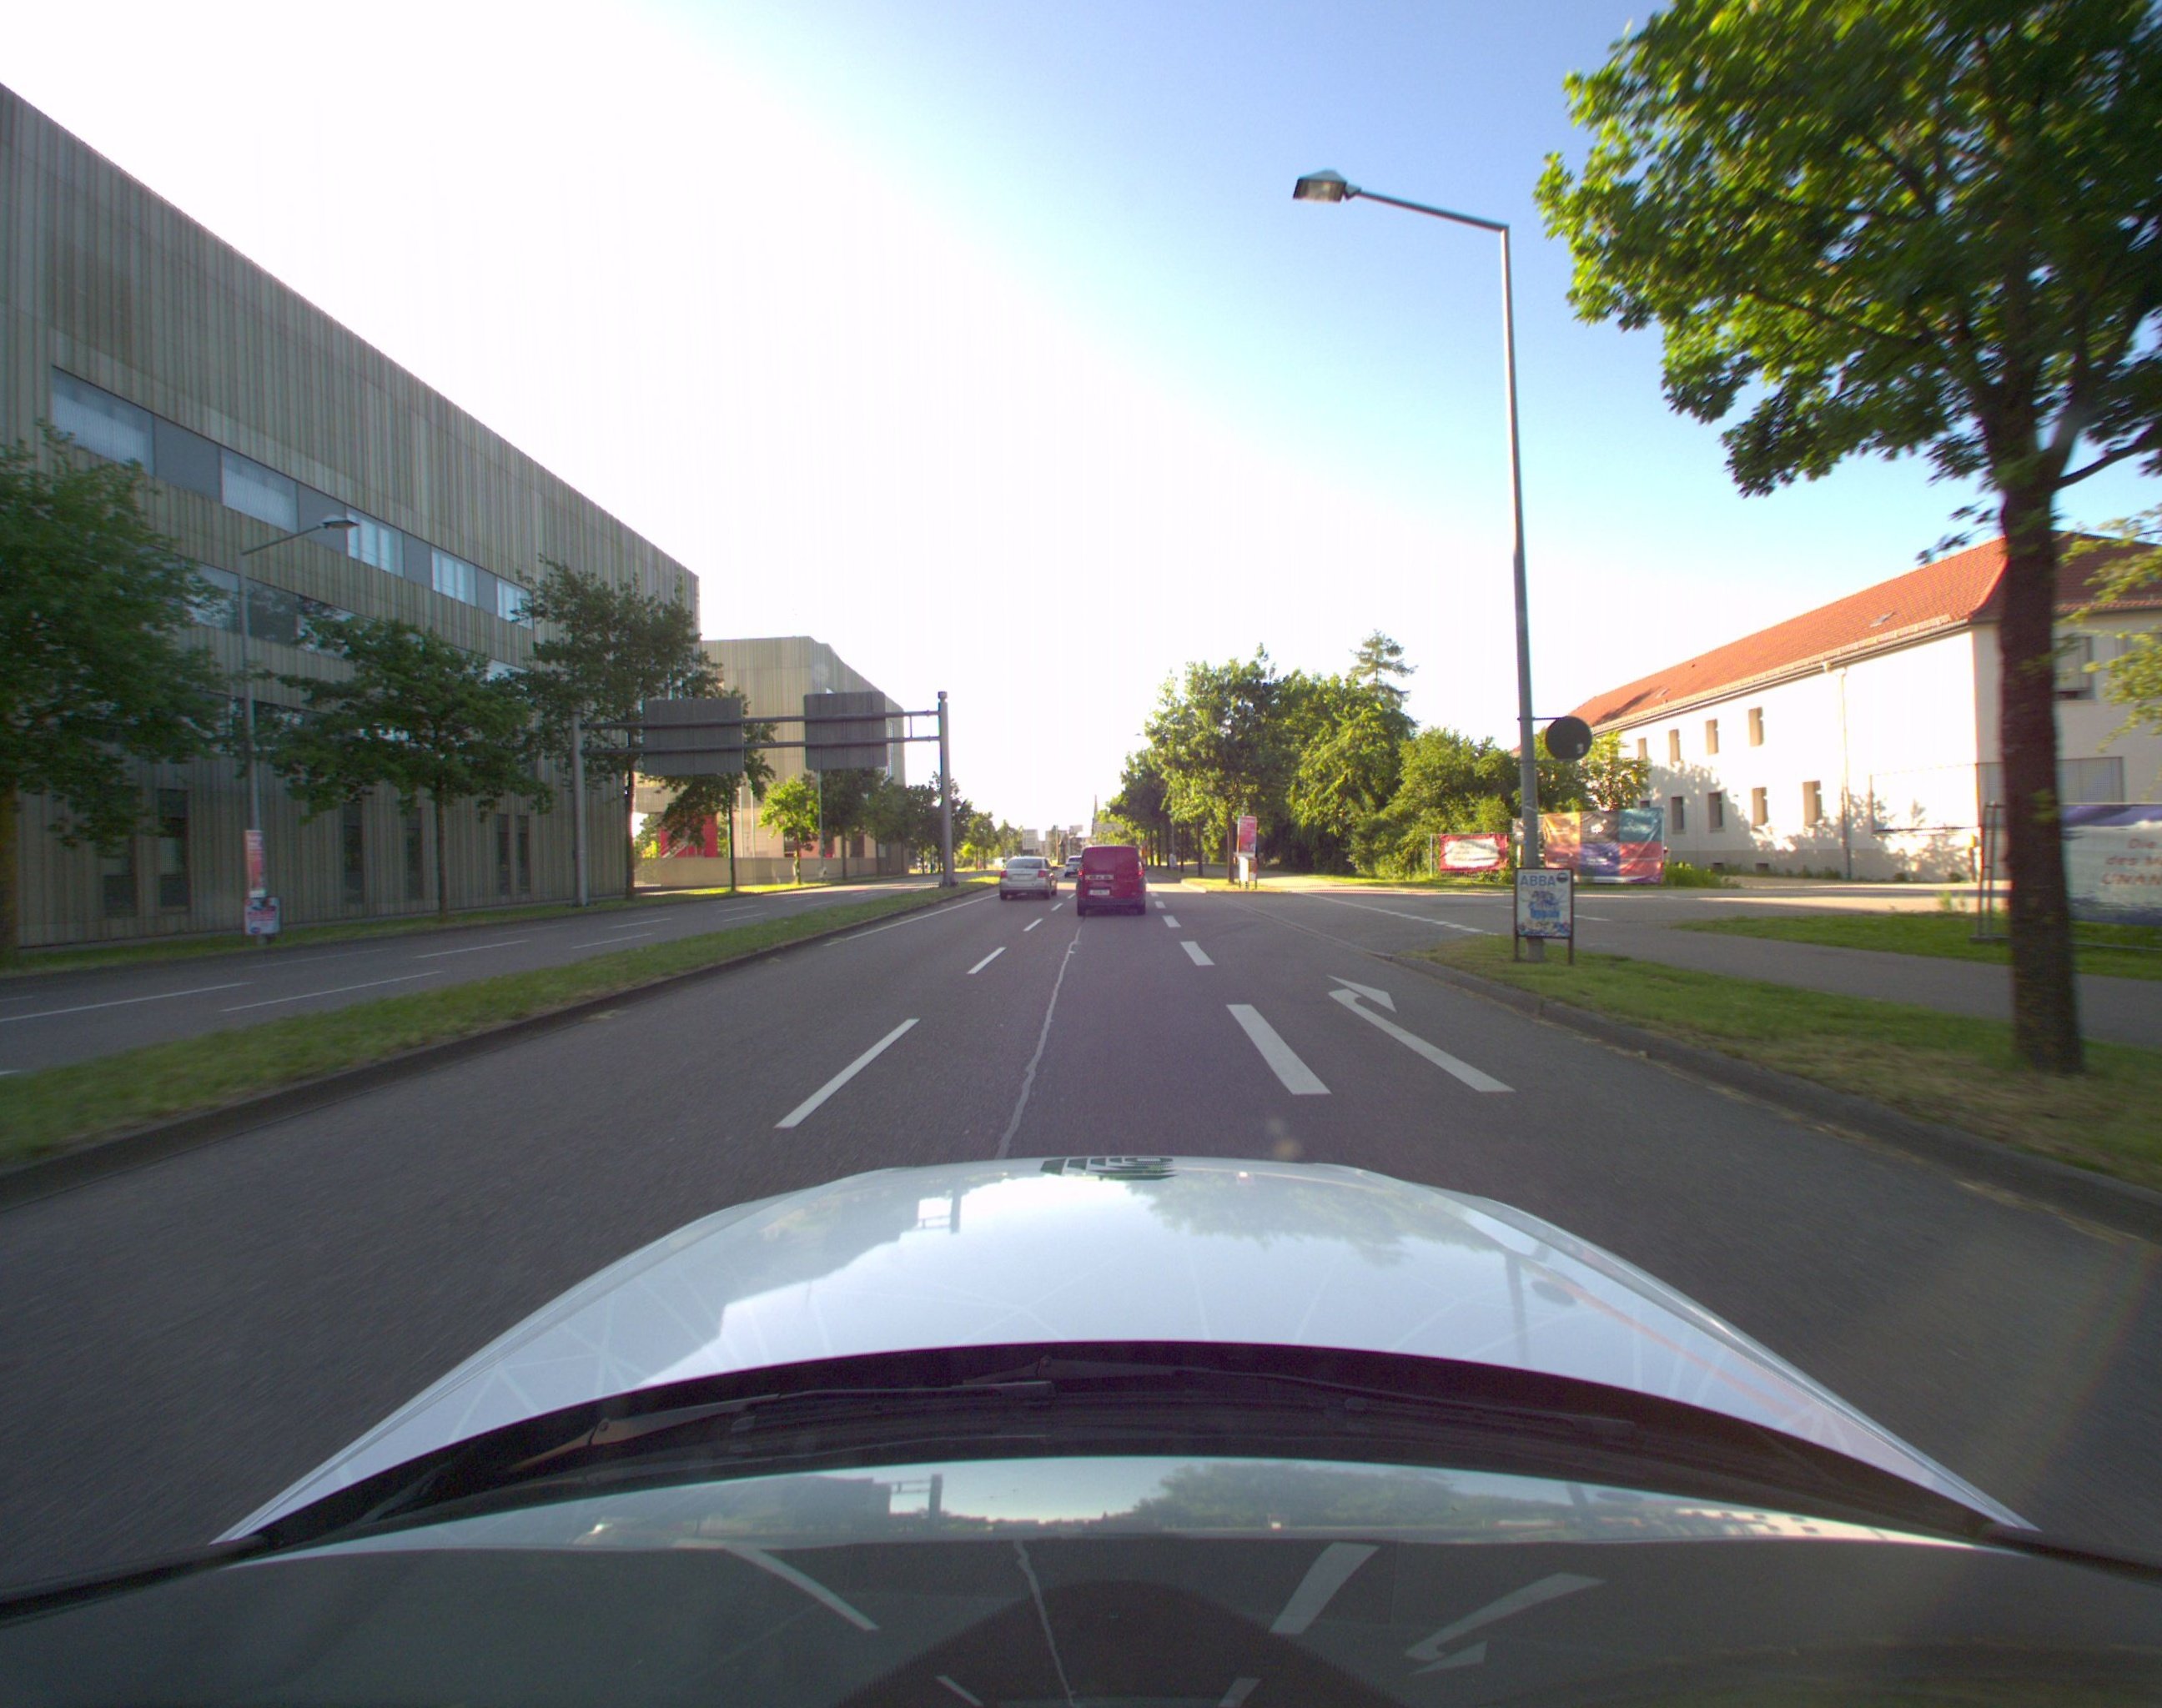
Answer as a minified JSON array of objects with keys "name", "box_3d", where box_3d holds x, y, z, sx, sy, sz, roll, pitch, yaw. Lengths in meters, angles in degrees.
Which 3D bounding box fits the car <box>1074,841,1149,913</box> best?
[{"name":"car","box_3d":[0.785,0.572,22.014,1.800,1.759,4.006,-1,0,1]}]

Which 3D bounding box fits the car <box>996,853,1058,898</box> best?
[{"name":"car","box_3d":[-1.849,0.722,29.075,1.834,1.456,4.163,-1,0,1]}]

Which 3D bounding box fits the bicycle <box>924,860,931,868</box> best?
[{"name":"bicycle","box_3d":[-22.203,1.454,117.533,0.568,1.003,2.096,-2,-1,0]}]

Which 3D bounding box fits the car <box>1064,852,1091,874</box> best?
[{"name":"car","box_3d":[-0.211,0.616,55.154,1.655,1.398,3.559,-2,0,1]}]

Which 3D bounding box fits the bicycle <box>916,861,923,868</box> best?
[{"name":"bicycle","box_3d":[-23.385,1.483,117.852,0.485,1.003,2.096,-2,-1,0]}]

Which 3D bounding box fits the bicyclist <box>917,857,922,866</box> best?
[{"name":"bicyclist","box_3d":[-23.415,1.076,117.823,0.480,1.395,0.844,-2,-1,0]}]

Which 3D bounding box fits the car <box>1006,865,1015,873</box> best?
[{"name":"car","box_3d":[-13.407,2.900,154.436,1.441,1.436,3.459,-2,0,0]}]

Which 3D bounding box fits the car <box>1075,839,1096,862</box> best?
[{"name":"car","box_3d":[0.415,-0.312,68.893,1.655,1.856,3.559,-2,0,1]}]

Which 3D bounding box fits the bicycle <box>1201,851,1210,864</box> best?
[{"name":"bicycle","box_3d":[11.378,0.345,74.392,0.769,1.131,1.713,-2,0,9]}]
